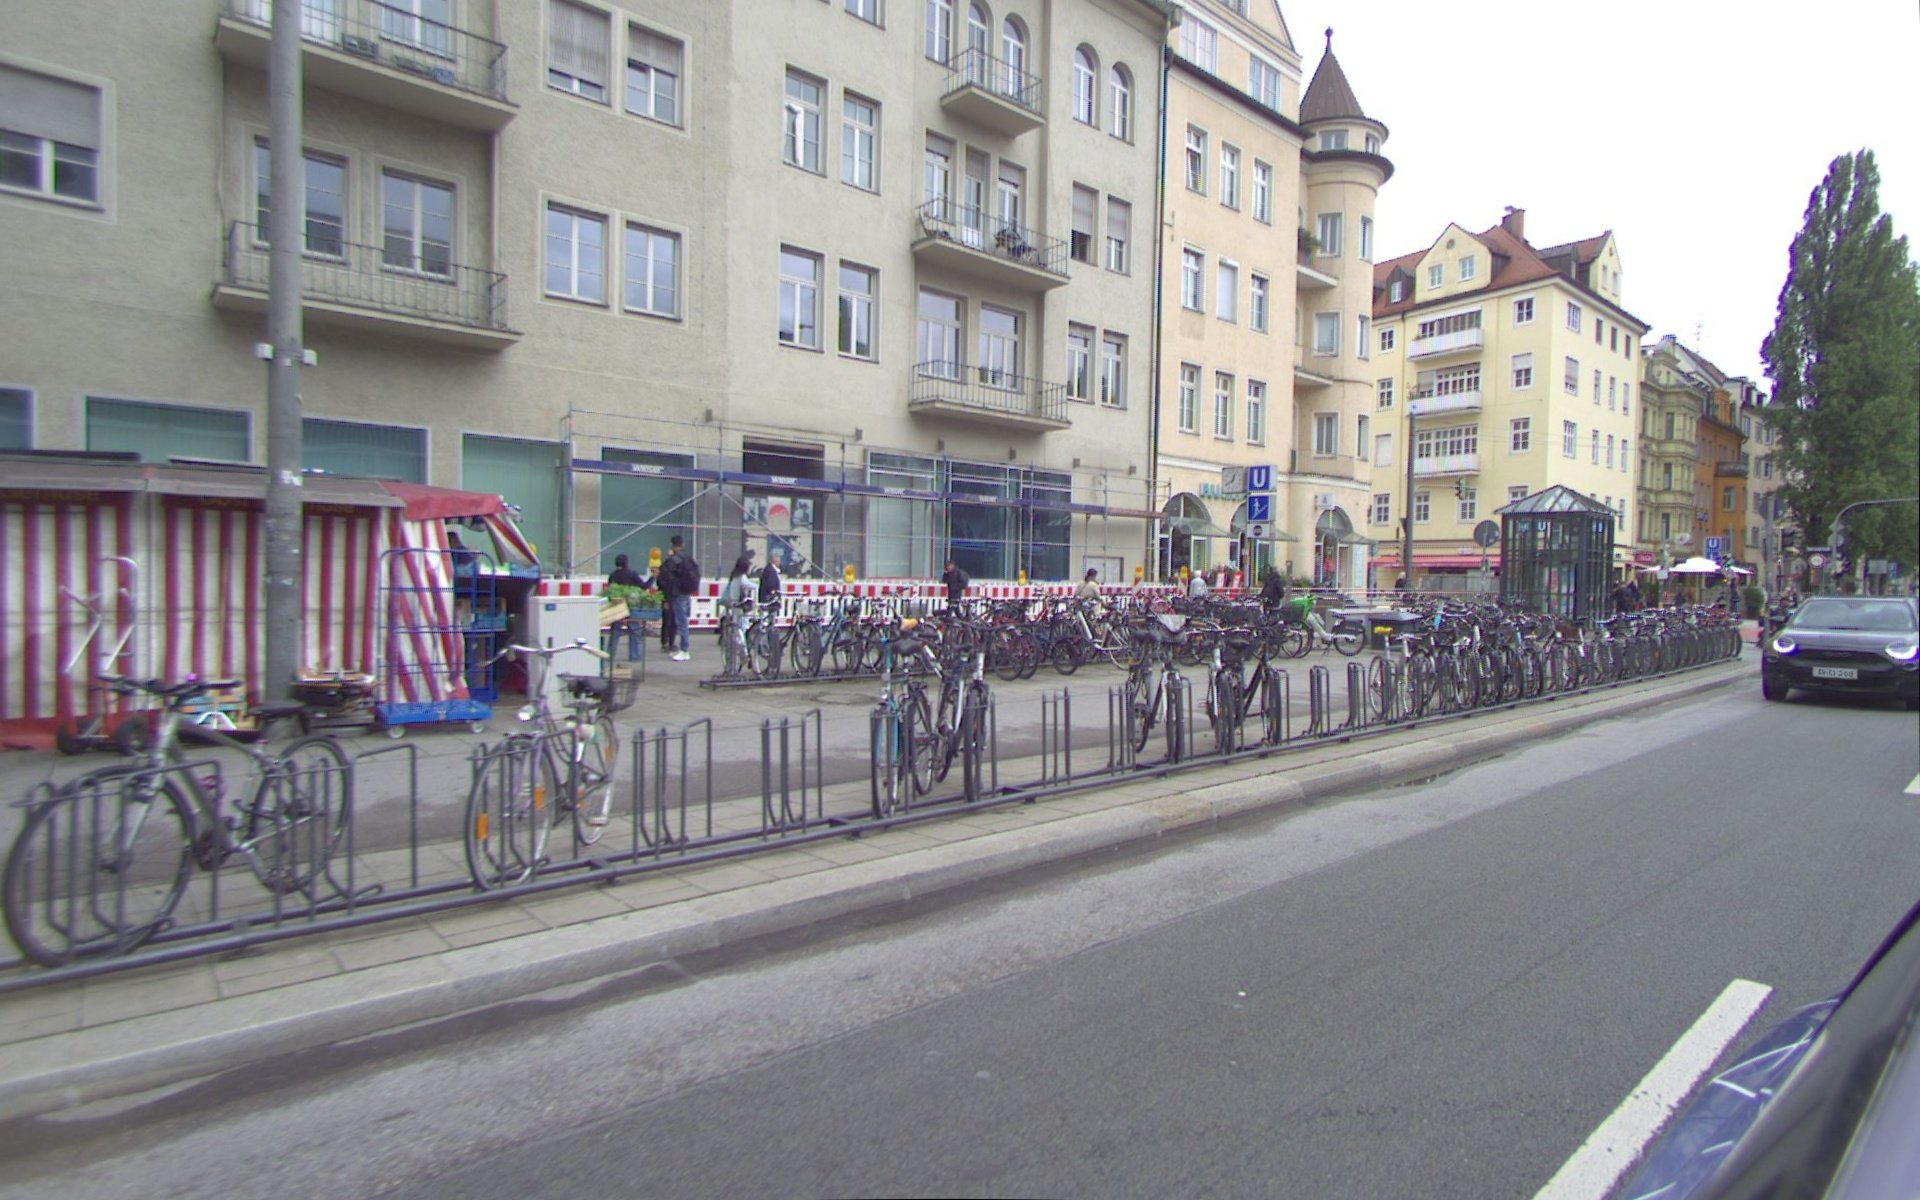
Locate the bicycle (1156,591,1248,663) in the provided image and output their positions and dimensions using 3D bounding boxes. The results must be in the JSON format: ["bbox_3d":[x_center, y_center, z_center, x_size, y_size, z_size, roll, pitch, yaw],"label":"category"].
[{"bbox_3d":[4.055,0.435,17.040,0.403,1.091,1.527,0,3,-42],"label":"bicycle"}]

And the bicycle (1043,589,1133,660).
[{"bbox_3d":[2.158,0.396,17.202,1.530,1.091,0.404,4,3,42],"label":"bicycle"}]

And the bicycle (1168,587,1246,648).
[{"bbox_3d":[4.823,0.329,19.802,1.449,1.091,0.403,4,3,45],"label":"bicycle"}]

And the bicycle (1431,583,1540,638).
[{"bbox_3d":[12.934,0.229,24.989,0.617,1.242,2.331,0,2,-38],"label":"bicycle"}]

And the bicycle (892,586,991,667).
[{"bbox_3d":[-0.303,0.378,15.401,1.627,1.116,0.404,4,3,40],"label":"bicycle"}]

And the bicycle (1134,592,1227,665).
[{"bbox_3d":[3.609,0.445,16.671,0.403,1.091,1.538,0,3,-42],"label":"bicycle"}]

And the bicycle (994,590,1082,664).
[{"bbox_3d":[1.255,0.417,16.429,1.447,1.091,0.404,4,3,41],"label":"bicycle"}]

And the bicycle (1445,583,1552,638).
[{"bbox_3d":[13.507,0.235,25.461,0.617,1.242,2.318,0,2,-38],"label":"bicycle"}]

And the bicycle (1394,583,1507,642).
[{"bbox_3d":[11.415,0.265,23.644,0.617,1.242,2.318,0,2,-38],"label":"bicycle"}]

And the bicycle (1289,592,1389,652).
[{"bbox_3d":[7.248,0.418,19.390,1.728,1.091,0.410,1,2,-1],"label":"bicycle"}]

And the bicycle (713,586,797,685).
[{"bbox_3d":[-2.626,0.413,12.863,0.402,1.116,1.635,0,3,-35],"label":"bicycle"}]

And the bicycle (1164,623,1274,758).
[{"bbox_3d":[2.150,0.713,8.592,0.379,1.024,1.802,0,-2,-2],"label":"bicycle"}]

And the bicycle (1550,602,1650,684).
[{"bbox_3d":[9.801,0.625,15.571,0.481,1.151,1.794,0,1,3],"label":"bicycle"}]

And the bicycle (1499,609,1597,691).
[{"bbox_3d":[8.245,0.691,14.266,0.390,1.073,1.849,0,-2,4],"label":"bicycle"}]

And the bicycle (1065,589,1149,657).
[{"bbox_3d":[2.565,0.384,17.718,1.447,1.091,0.404,4,3,41],"label":"bicycle"}]

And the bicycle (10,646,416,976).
[{"bbox_3d":[-2.904,0.732,4.155,0.536,1.068,1.576,0,-2,-3],"label":"bicycle"}]

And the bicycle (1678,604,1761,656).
[{"bbox_3d":[16.246,0.638,21.695,0.390,1.073,1.851,0,-2,2],"label":"bicycle"}]

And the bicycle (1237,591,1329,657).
[{"bbox_3d":[5.918,0.411,18.610,0.403,1.091,1.604,0,3,-42],"label":"bicycle"}]

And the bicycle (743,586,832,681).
[{"bbox_3d":[-2.290,0.405,13.312,0.403,1.116,1.633,0,3,-38],"label":"bicycle"}]

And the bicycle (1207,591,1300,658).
[{"bbox_3d":[5.308,0.419,18.369,0.403,1.091,1.624,0,3,-42],"label":"bicycle"}]

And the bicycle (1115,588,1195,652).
[{"bbox_3d":[3.646,0.352,18.979,1.447,1.091,0.404,4,3,41],"label":"bicycle"}]

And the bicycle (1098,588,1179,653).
[{"bbox_3d":[3.279,0.361,18.661,1.447,1.091,0.404,4,3,41],"label":"bicycle"}]

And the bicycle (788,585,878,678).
[{"bbox_3d":[-1.739,0.394,13.649,0.403,1.116,1.633,0,3,-38],"label":"bicycle"}]

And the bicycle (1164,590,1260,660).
[{"bbox_3d":[4.360,0.414,17.601,0.403,1.091,1.660,0,3,-42],"label":"bicycle"}]

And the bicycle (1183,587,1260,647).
[{"bbox_3d":[5.202,0.320,20.166,1.449,1.091,0.403,4,3,45],"label":"bicycle"}]

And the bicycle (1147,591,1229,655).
[{"bbox_3d":[4.278,0.413,19.061,0.403,1.091,1.528,0,3,-42],"label":"bicycle"}]

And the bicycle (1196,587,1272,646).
[{"bbox_3d":[5.531,0.311,20.516,1.449,1.091,0.403,4,3,45],"label":"bicycle"}]

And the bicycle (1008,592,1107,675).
[{"bbox_3d":[1.400,0.460,14.744,1.447,1.091,0.404,4,3,41],"label":"bicycle"}]

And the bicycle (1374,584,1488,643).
[{"bbox_3d":[10.794,0.276,23.291,0.617,1.242,2.344,0,2,-38],"label":"bicycle"}]

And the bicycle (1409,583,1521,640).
[{"bbox_3d":[12.078,0.249,24.284,0.617,1.242,2.344,0,2,-38],"label":"bicycle"}]

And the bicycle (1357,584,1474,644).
[{"bbox_3d":[10.261,0.287,22.888,0.617,1.242,2.369,0,2,-38],"label":"bicycle"}]

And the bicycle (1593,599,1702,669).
[{"bbox_3d":[12.150,0.564,17.958,0.578,1.151,1.798,0,1,-5],"label":"bicycle"}]

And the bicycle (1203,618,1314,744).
[{"bbox_3d":[2.634,0.683,9.097,0.379,1.024,1.802,0,-2,-2],"label":"bicycle"}]

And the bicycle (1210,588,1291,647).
[{"bbox_3d":[5.991,0.339,20.934,0.403,1.091,1.651,0,3,-38],"label":"bicycle"}]

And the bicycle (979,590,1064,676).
[{"bbox_3d":[0.845,0.436,14.308,0.402,1.091,1.454,0,3,-32],"label":"bicycle"}]

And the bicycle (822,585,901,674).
[{"bbox_3d":[-1.406,0.380,14.208,0.402,1.116,1.636,0,3,-32],"label":"bicycle"}]

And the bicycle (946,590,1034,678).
[{"bbox_3d":[0.395,0.442,14.117,0.402,1.091,1.484,0,3,-35],"label":"bicycle"}]

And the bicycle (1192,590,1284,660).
[{"bbox_3d":[4.842,0.416,17.704,0.402,1.091,1.640,0,3,-36],"label":"bicycle"}]

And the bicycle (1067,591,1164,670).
[{"bbox_3d":[2.357,0.440,15.461,1.447,1.091,0.404,4,3,41],"label":"bicycle"}]

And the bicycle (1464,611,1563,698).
[{"bbox_3d":[7.266,0.699,13.368,0.390,1.073,1.849,0,-2,4],"label":"bicycle"}]

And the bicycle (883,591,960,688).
[{"bbox_3d":[-0.514,0.472,12.862,0.402,1.091,1.477,0,3,-25],"label":"bicycle"}]

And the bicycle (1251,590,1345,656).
[{"bbox_3d":[6.281,0.404,18.870,0.403,1.091,1.654,0,3,-42],"label":"bicycle"}]

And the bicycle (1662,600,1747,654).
[{"bbox_3d":[15.297,0.563,20.848,0.390,1.073,1.851,0,-2,2],"label":"bicycle"}]

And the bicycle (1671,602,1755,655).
[{"bbox_3d":[15.800,0.597,21.284,0.390,1.073,1.851,0,-2,2],"label":"bicycle"}]

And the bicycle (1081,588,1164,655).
[{"bbox_3d":[2.908,0.373,18.164,1.447,1.091,0.404,4,3,41],"label":"bicycle"}]

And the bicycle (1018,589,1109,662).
[{"bbox_3d":[1.702,0.406,16.831,1.530,1.091,0.404,4,3,42],"label":"bicycle"}]
